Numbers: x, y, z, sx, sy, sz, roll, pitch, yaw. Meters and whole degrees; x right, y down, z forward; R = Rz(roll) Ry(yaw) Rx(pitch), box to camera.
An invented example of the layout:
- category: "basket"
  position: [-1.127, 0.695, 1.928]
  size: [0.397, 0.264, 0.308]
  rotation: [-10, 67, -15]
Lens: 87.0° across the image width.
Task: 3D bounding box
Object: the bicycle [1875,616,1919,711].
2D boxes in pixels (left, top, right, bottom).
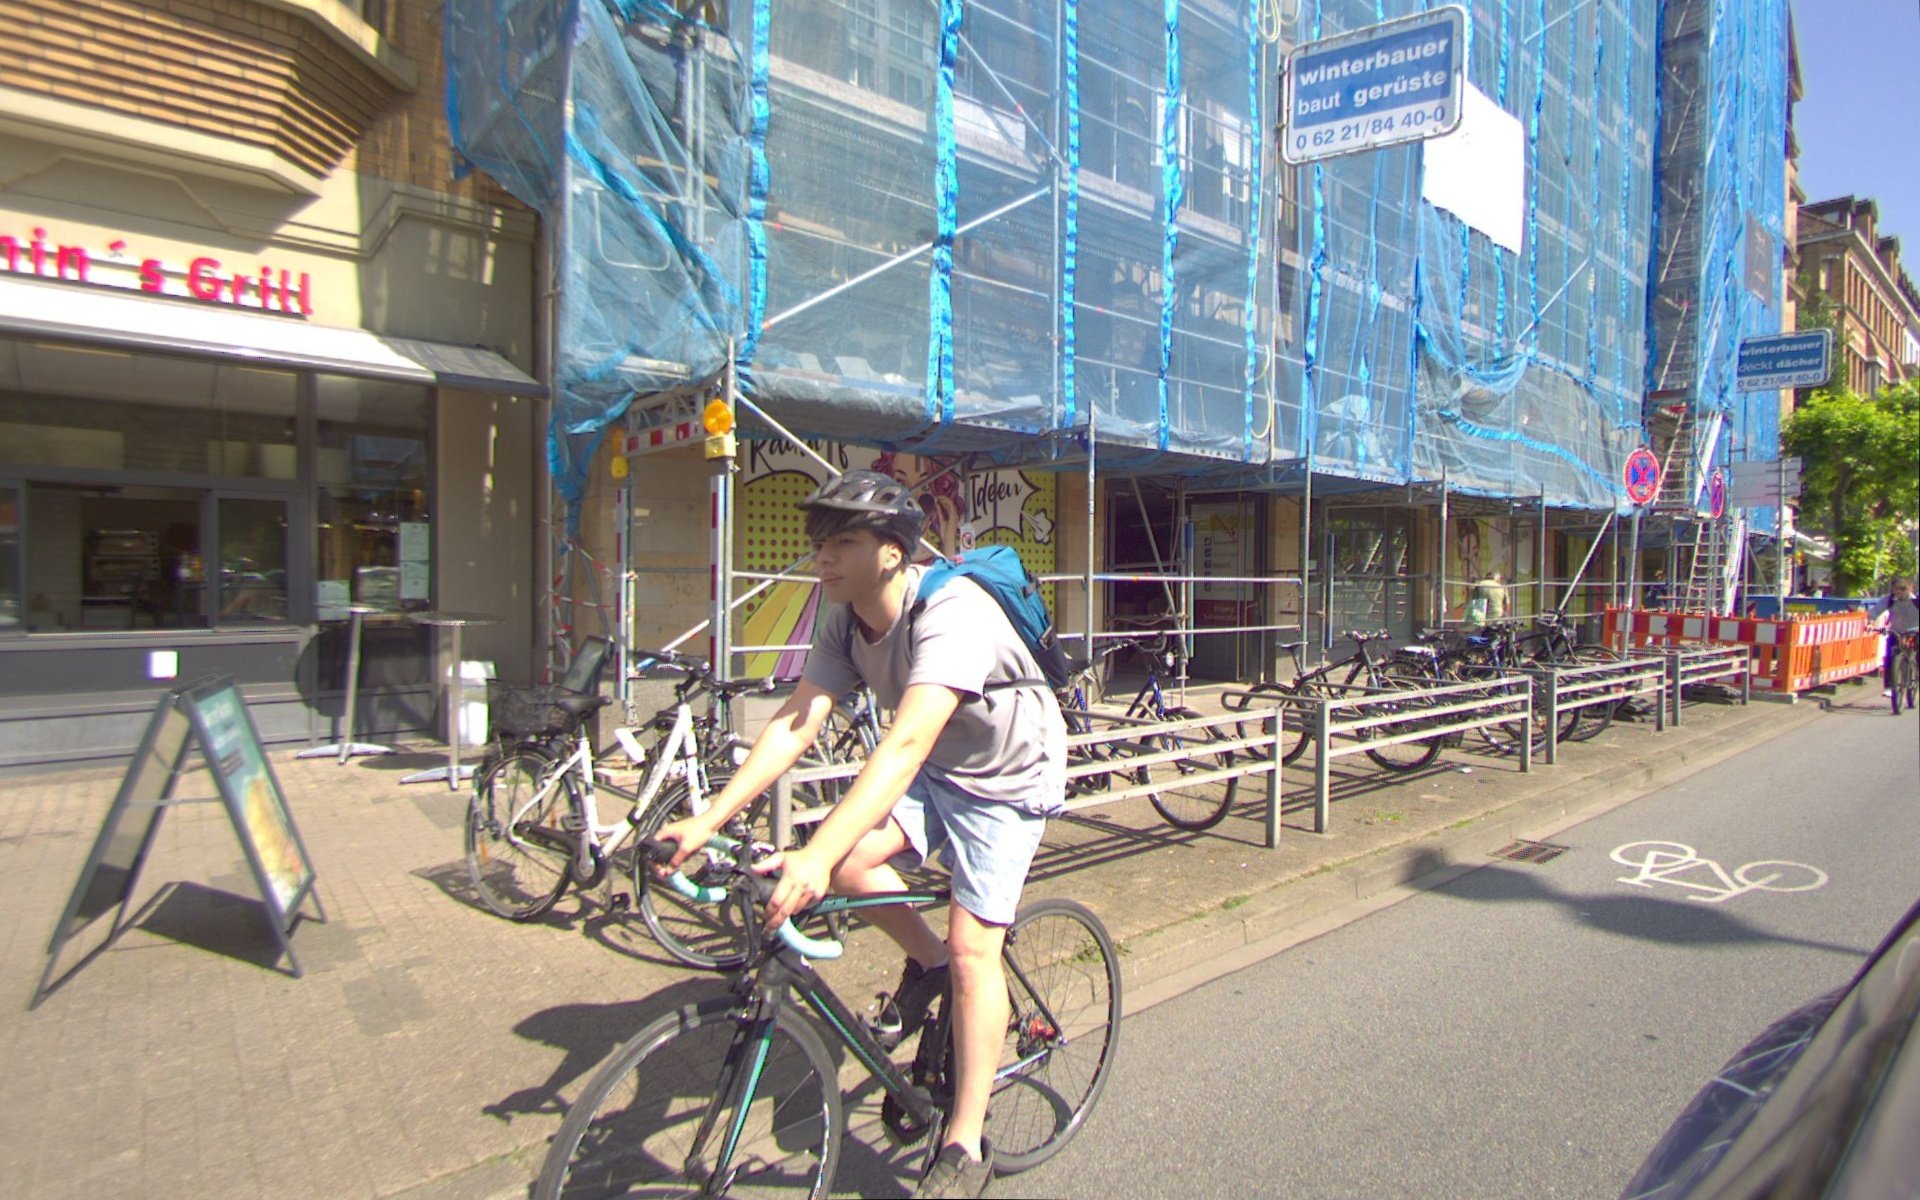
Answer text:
- category: "bicycle"
  position: [12.359, 0.777, 12.951]
  size: [1.865, 1.107, 0.735]
  rotation: [-1, 0, -41]

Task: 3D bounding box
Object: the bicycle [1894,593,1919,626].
- category: "bicycle"
  position: [31.198, 0.308, 32.460]
  size: [0.577, 1.030, 1.755]
  rotation: [-1, 2, -42]

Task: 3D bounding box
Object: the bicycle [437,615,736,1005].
- category: "bicycle"
  position: [-1.564, 0.675, 4.050]
  size: [0.598, 1.193, 1.697]
  rotation: [-1, 0, -39]

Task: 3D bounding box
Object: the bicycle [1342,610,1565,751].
- category: "bicycle"
  position: [4.350, 0.659, 9.027]
  size: [0.598, 1.111, 1.697]
  rotation: [-1, 0, -39]

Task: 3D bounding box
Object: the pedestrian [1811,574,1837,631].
- category: "pedestrian"
  position: [26.537, 0.076, 31.079]
  size: [0.528, 1.703, 0.498]
  rotation: [-2, 3, -43]

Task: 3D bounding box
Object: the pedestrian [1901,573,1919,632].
- category: "pedestrian"
  position: [28.270, 0.072, 29.901]
  size: [0.656, 1.703, 0.643]
  rotation: [1, 2, 43]

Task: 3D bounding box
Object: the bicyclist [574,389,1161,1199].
- category: "bicyclist"
  position: [-0.177, 0.388, 2.299]
  size: [1.123, 1.481, 0.689]
  rotation: [-1, -1, -42]

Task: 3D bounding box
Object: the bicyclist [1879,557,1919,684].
- category: "bicyclist"
  position: [12.330, 0.252, 12.936]
  size: [0.765, 1.597, 0.749]
  rotation: [-1, -1, -41]

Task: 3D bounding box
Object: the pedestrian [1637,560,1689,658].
- category: "pedestrian"
  position: [13.262, 0.164, 19.098]
  size: [0.638, 1.799, 0.640]
  rotation: [-1, -1, -40]

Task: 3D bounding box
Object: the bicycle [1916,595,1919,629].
- category: "bicycle"
  position: [29.432, 0.377, 30.074]
  size: [0.647, 1.031, 1.753]
  rotation: [0, 1, 11]

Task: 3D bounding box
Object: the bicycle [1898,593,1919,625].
- category: "bicycle"
  position: [32.140, 0.307, 33.345]
  size: [0.474, 1.031, 1.755]
  rotation: [-1, 1, -42]

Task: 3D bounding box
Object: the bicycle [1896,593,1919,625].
- category: "bicycle"
  position: [31.675, 0.300, 32.933]
  size: [0.474, 1.031, 1.755]
  rotation: [-1, 1, -42]

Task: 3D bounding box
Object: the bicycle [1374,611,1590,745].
- category: "bicycle"
  position: [4.824, 0.673, 9.452]
  size: [0.598, 1.111, 1.697]
  rotation: [-1, 0, -39]

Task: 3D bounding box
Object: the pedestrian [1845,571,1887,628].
- category: "pedestrian"
  position: [30.876, -0.034, 34.484]
  size: [0.874, 1.871, 0.818]
  rotation: [-1, 3, -33]

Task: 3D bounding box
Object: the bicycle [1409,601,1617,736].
- category: "bicycle"
  position: [5.394, 0.619, 9.957]
  size: [0.598, 1.193, 1.697]
  rotation: [-1, 0, -39]

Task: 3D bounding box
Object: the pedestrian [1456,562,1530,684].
- category: "pedestrian"
  position: [7.364, 0.301, 13.982]
  size: [0.752, 1.621, 0.644]
  rotation: [-1, -1, -41]

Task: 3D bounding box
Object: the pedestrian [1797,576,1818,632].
- category: "pedestrian"
  position: [25.943, 0.108, 30.984]
  size: [0.468, 1.703, 0.381]
  rotation: [-1, 2, -42]

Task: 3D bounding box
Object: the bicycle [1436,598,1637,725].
- category: "bicycle"
  position: [5.887, 0.579, 10.414]
  size: [0.598, 1.193, 1.697]
  rotation: [-1, 0, -39]

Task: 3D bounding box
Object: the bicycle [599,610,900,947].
- category: "bicycle"
  position: [-1.012, 0.657, 4.524]
  size: [0.598, 1.193, 1.697]
  rotation: [-1, 0, -39]

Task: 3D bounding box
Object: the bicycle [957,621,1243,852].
- category: "bicycle"
  position: [0.753, 0.701, 5.901]
  size: [0.598, 1.101, 1.697]
  rotation: [-1, 0, -39]

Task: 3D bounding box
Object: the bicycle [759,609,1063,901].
- category: "bicycle"
  position: [-0.321, 0.660, 5.125]
  size: [0.598, 1.193, 1.775]
  rotation: [-1, 0, -39]

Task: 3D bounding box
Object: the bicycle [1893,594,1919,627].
- category: "bicycle"
  position: [30.750, 0.333, 32.036]
  size: [0.547, 1.031, 1.755]
  rotation: [-1, 1, -42]

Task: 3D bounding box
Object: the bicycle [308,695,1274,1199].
- category: "bicycle"
  position: [-0.183, 0.875, 2.300]
  size: [2.094, 1.107, 0.735]
  rotation: [-1, 0, -42]

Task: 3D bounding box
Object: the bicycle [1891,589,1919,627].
- category: "bicycle"
  position: [30.327, 0.252, 31.650]
  size: [0.569, 1.196, 1.755]
  rotation: [-1, 1, -42]

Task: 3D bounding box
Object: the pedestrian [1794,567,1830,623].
- category: "pedestrian"
  position: [28.084, -0.180, 33.345]
  size: [0.966, 1.803, 0.670]
  rotation: [-1, 2, -36]

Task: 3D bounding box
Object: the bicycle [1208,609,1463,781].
- category: "bicycle"
  position: [2.777, 0.644, 7.644]
  size: [0.598, 1.123, 1.742]
  rotation: [-1, 0, -39]
